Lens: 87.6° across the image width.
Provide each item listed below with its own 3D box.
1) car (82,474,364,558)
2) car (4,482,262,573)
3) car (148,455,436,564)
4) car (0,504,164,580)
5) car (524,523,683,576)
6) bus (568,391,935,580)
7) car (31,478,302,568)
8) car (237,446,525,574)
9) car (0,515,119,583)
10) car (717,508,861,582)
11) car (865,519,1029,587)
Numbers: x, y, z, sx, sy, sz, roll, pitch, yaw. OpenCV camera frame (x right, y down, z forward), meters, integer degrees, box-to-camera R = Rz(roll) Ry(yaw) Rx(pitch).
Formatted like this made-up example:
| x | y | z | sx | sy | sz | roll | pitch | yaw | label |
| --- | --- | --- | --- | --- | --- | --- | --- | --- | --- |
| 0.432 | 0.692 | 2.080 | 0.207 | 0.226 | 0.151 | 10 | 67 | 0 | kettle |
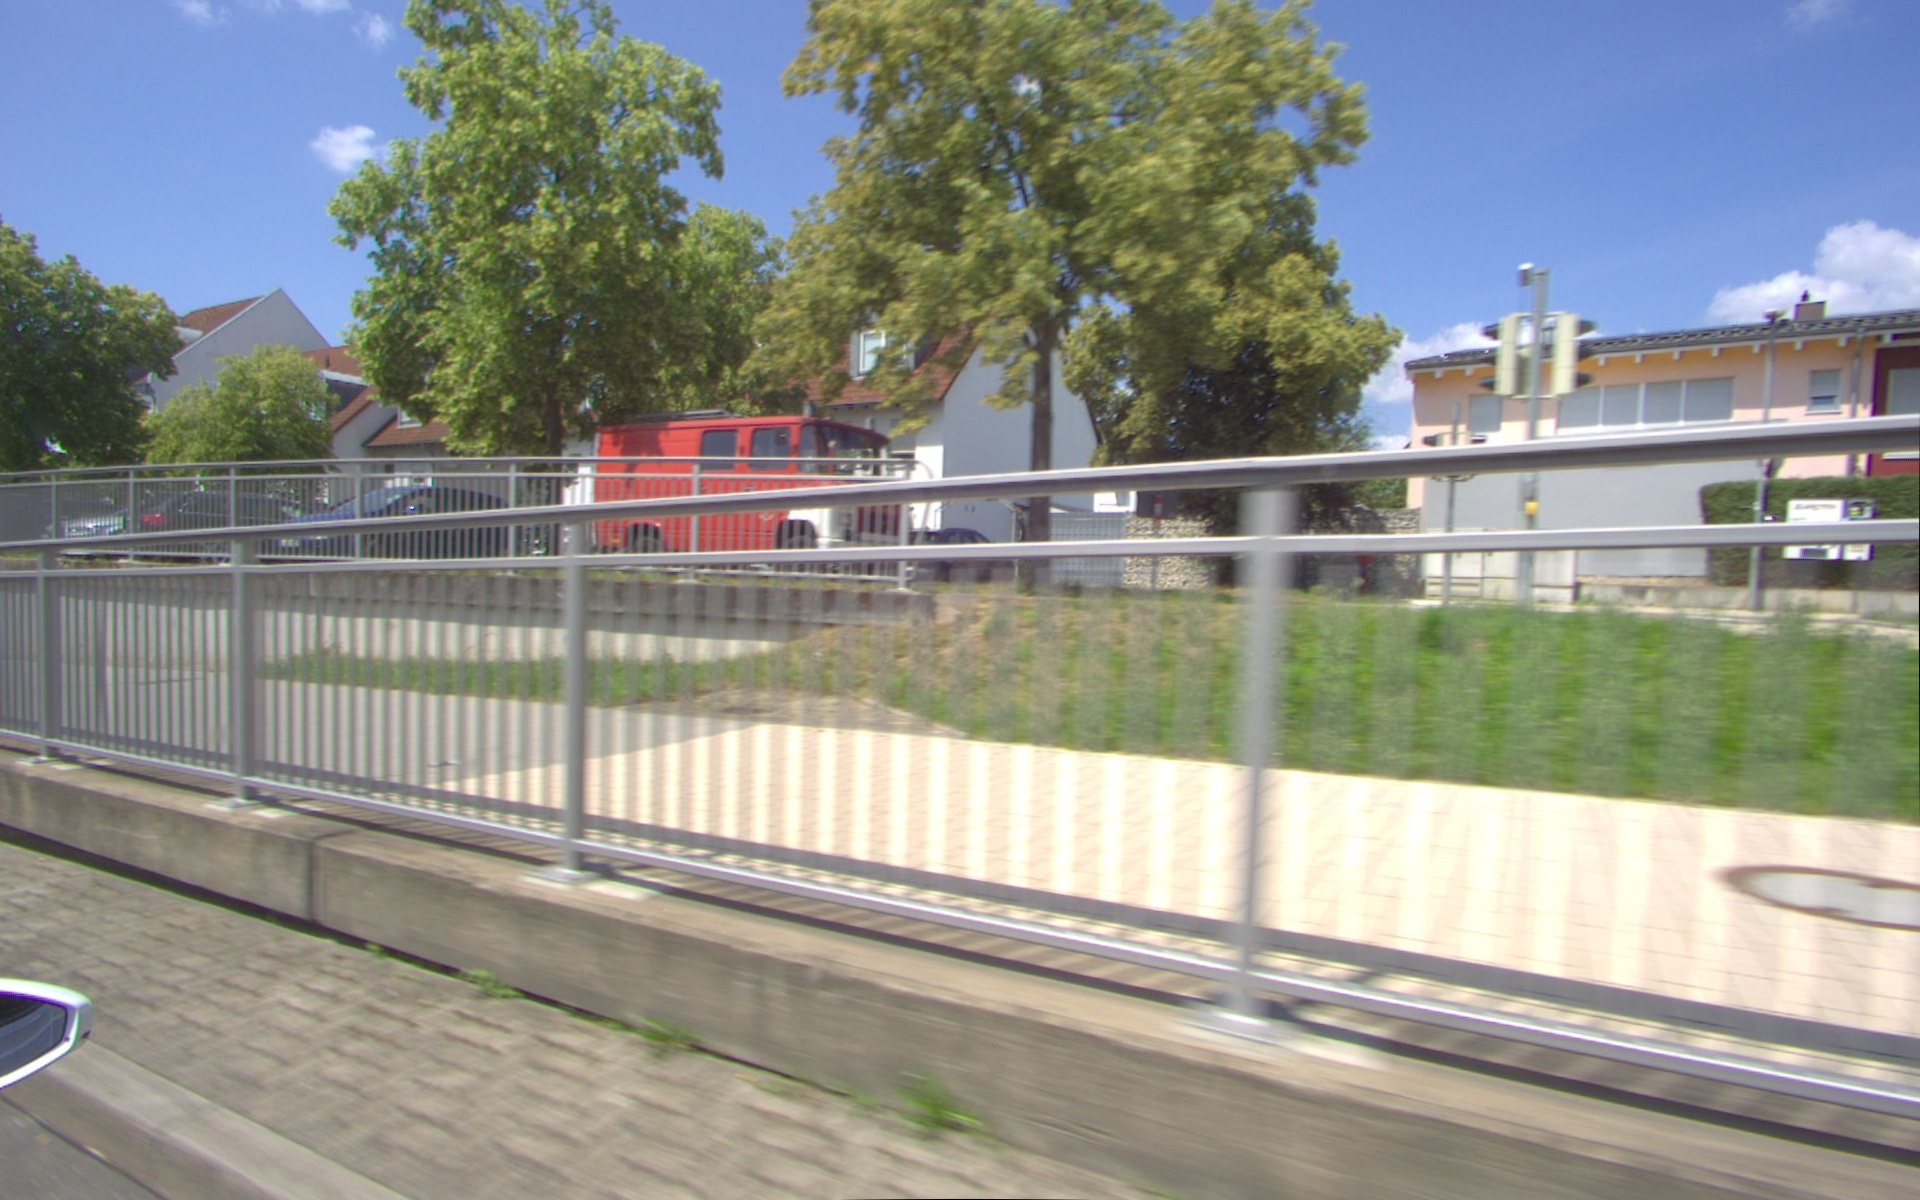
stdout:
| x | y | z | sx | sy | sz | roll | pitch | yaw | label |
| --- | --- | --- | --- | --- | --- | --- | --- | --- | --- |
| -13.959 | -1.514 | 19.204 | 1.747 | 1.324 | 3.979 | 0 | 1 | 31 | car |
| -17.630 | -1.460 | 21.526 | 1.700 | 1.576 | 3.978 | 0 | -1 | 33 | car |
| -11.931 | -1.517 | 18.189 | 1.745 | 1.654 | 3.983 | 0 | 1 | 28 | car |
| -21.785 | -1.343 | 23.974 | 1.700 | 1.576 | 3.978 | 0 | -1 | 33 | car |
| -11.027 | -1.536 | 31.286 | 1.970 | 1.500 | 4.475 | 3 | 3 | 31 | car |
| -3.217 | -1.620 | 15.092 | 5.281 | 2.400 | 2.185 | 4 | 3 | 30 | bus |
| -15.885 | -1.471 | 20.244 | 1.700 | 1.447 | 3.978 | 2 | 0 | 33 | car |
| -9.700 | -1.401 | 17.146 | 1.831 | 1.650 | 3.992 | 0 | -2 | 22 | car |
| -24.420 | -1.313 | 25.743 | 1.700 | 1.576 | 3.978 | 0 | -1 | 33 | car |
| -4.629 | -1.425 | 27.633 | 1.835 | 1.650 | 3.983 | -1 | -2 | 30 | car |
| -0.205 | -1.115 | 24.751 | 1.970 | 1.500 | 4.475 | 3 | 3 | 31 | car |
